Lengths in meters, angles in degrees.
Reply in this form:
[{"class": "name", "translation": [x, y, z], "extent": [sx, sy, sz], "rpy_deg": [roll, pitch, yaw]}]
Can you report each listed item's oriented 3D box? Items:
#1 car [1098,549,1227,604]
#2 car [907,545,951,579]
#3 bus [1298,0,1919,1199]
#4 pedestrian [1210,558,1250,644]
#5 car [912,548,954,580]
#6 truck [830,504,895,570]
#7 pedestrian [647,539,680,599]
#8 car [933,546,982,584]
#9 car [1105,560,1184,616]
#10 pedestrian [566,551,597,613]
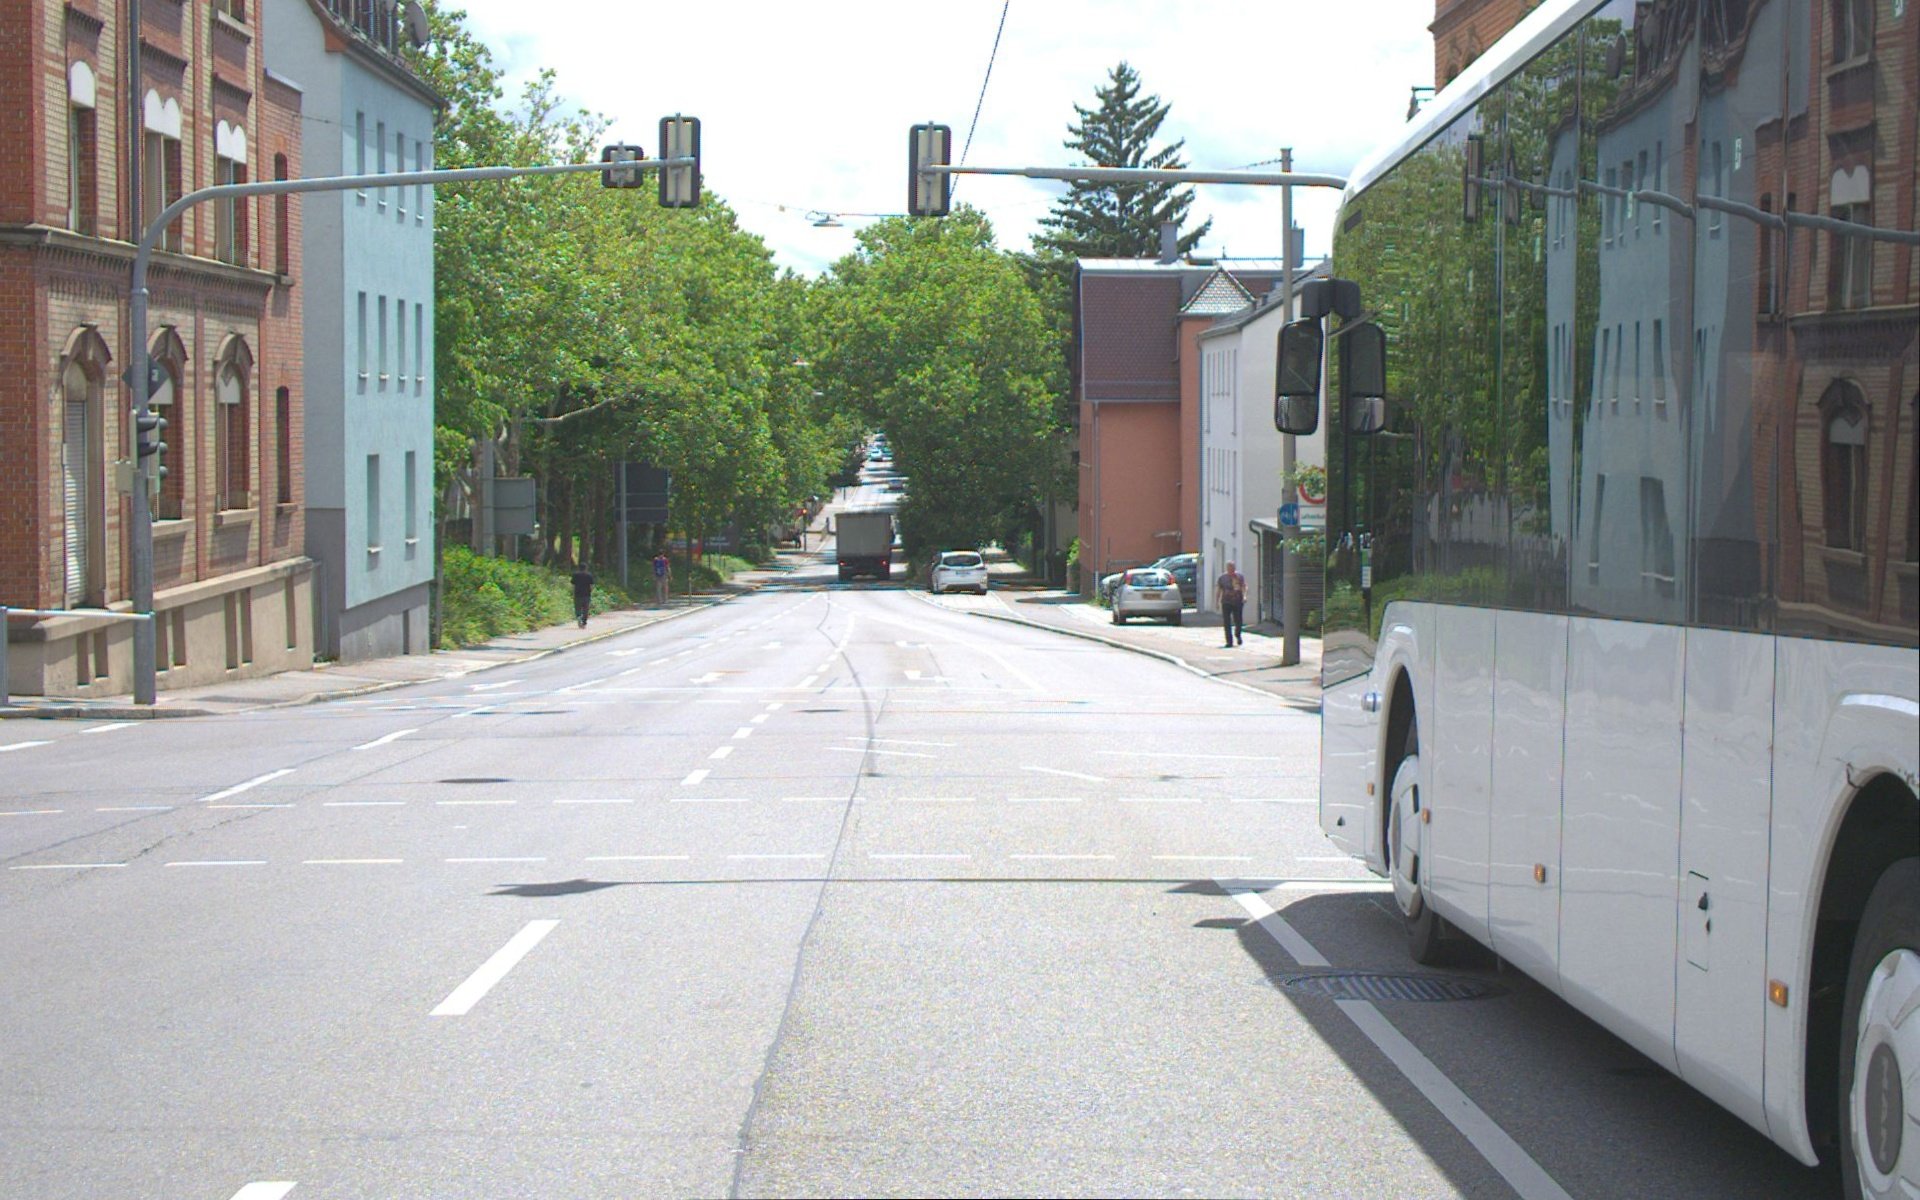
[{"class": "car", "translation": [6.652, -0.791, 113.163], "extent": [3.986, 1.751, 2.000], "rpy_deg": [-1, 1, -5]}, {"class": "car", "translation": [-1.294, -1.597, 145.819], "extent": [1.794, 1.405, 4.419], "rpy_deg": [1, 1, 0]}, {"class": "bus", "translation": [2.941, -0.165, 9.255], "extent": [2.672, 3.145, 12.462], "rpy_deg": [1, 1, -1]}, {"class": "pedestrian", "translation": [5.497, 0.018, 69.954], "extent": [0.738, 1.744, 0.619], "rpy_deg": [-1, 1, -1]}, {"class": "car", "translation": [-1.194, -1.602, 153.926], "extent": [1.794, 1.405, 4.419], "rpy_deg": [1, 1, 0]}, {"class": "truck", "translation": [-4.779, -3.081, 167.511], "extent": [2.926, 3.070, 7.886], "rpy_deg": [-1, 1, -3]}, {"class": "pedestrian", "translation": [-10.011, -1.067, 116.152], "extent": [0.995, 2.007, 1.189], "rpy_deg": [-1, 1, -1]}, {"class": "car", "translation": [-0.106, -1.319, 129.444], "extent": [1.794, 1.405, 4.000], "rpy_deg": [1, 1, -1]}, {"class": "car", "translation": [4.976, -0.340, 93.065], "extent": [1.794, 1.405, 4.001], "rpy_deg": [-1, 1, -2]}, {"class": "pedestrian", "translation": [-9.615, -0.465, 87.276], "extent": [0.729, 1.560, 0.561], "rpy_deg": [0, 1, -1]}]
